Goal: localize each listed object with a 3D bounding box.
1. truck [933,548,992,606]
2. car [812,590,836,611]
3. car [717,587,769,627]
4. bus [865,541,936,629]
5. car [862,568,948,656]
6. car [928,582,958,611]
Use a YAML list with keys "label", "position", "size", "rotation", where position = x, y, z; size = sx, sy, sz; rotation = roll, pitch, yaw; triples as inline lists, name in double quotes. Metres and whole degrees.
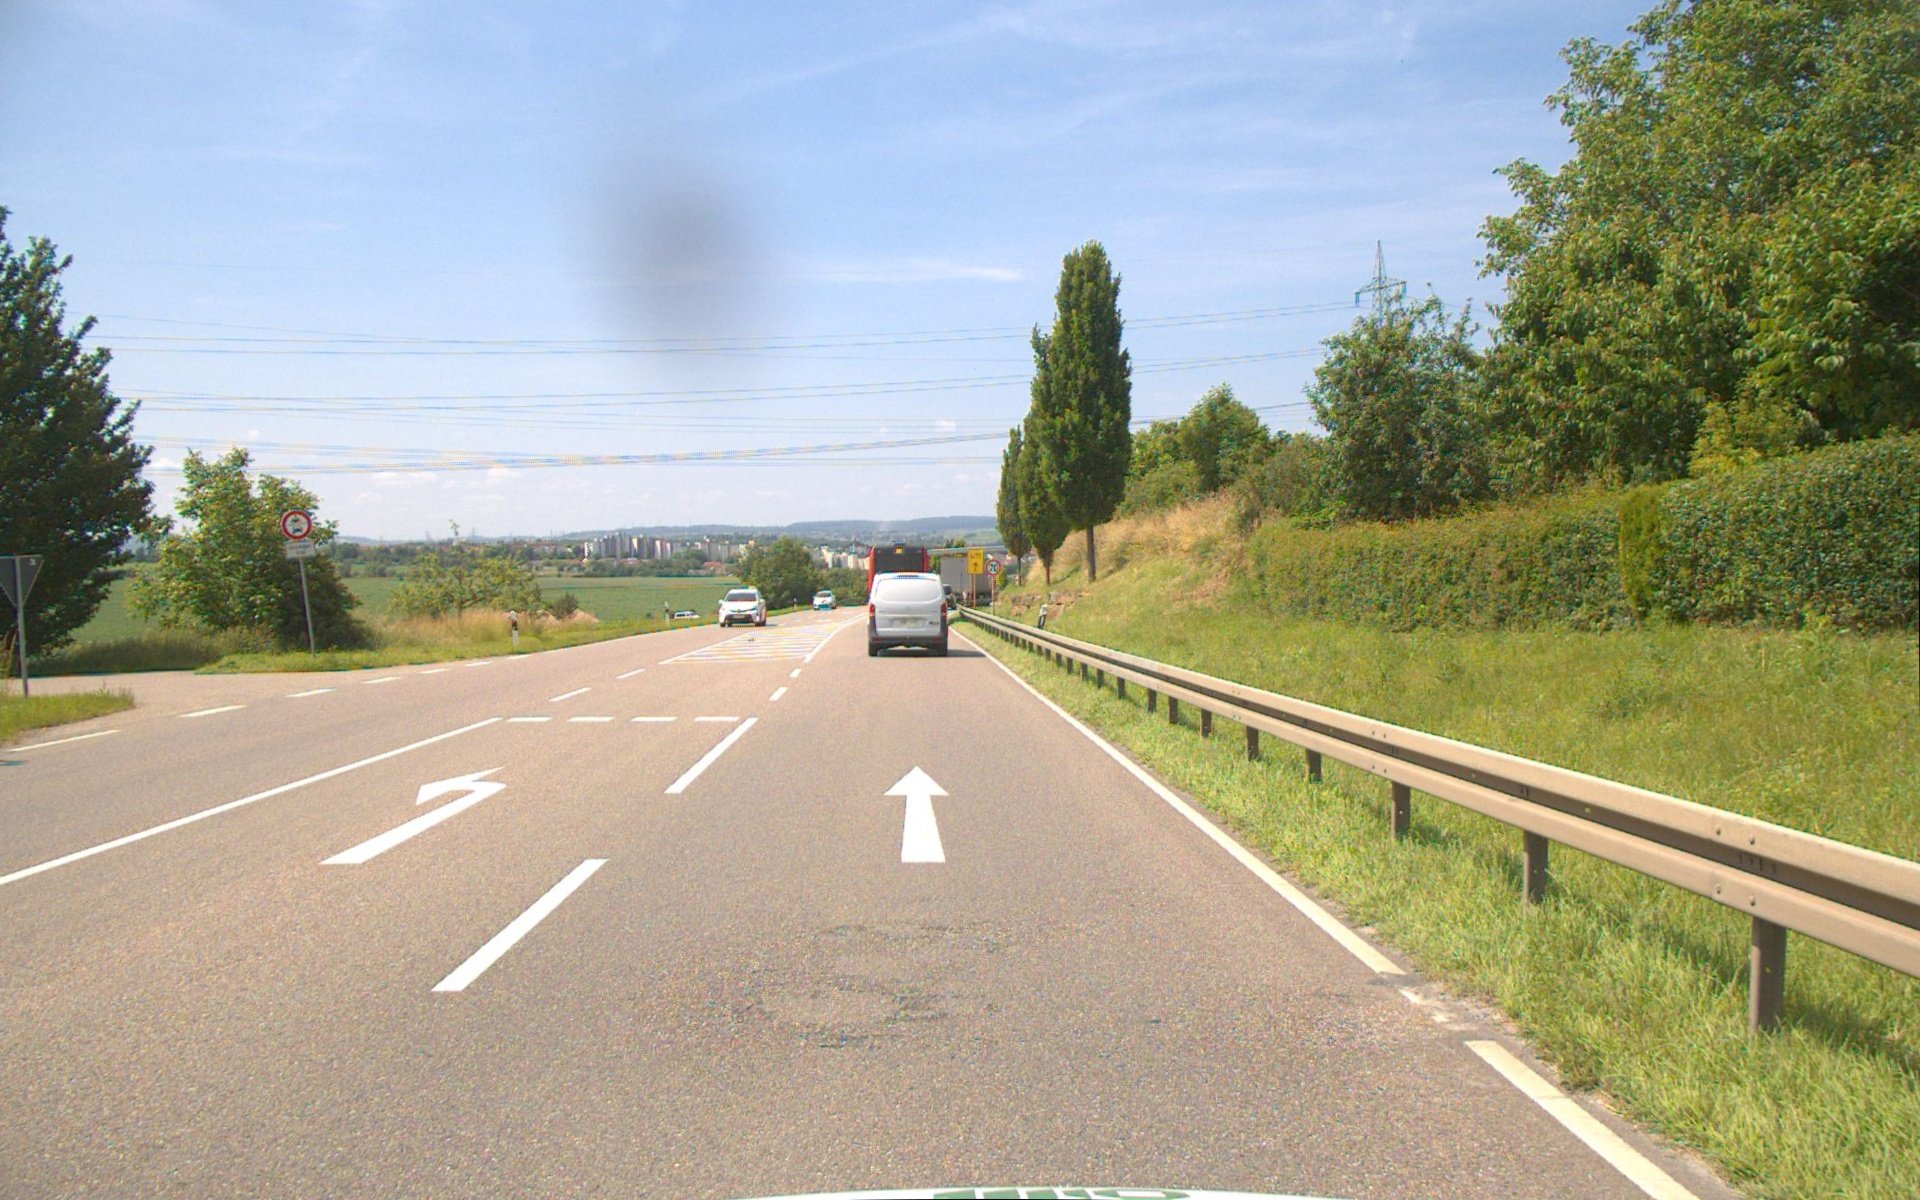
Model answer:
- label: "truck"
  position: [0.316, -1.849, 136.387]
  size: [3.414, 4.500, 14.913]
  rotation: [-1, 0, 6]
- label: "car"
  position: [-11.642, 0.017, 142.142]
  size: [1.730, 1.716, 3.825]
  rotation: [-2, 1, -1]
- label: "car"
  position: [-9.429, 0.277, 72.145]
  size: [1.816, 1.593, 4.073]
  rotation: [-2, 1, -2]
- label: "bus"
  position: [-2.624, -0.844, 73.548]
  size: [2.692, 3.411, 13.219]
  rotation: [-3, 2, -2]
- label: "car"
  position: [-1.250, 0.233, 39.260]
  size: [1.884, 1.922, 4.000]
  rotation: [-2, 1, 0]
- label: "car"
  position: [-1.166, -0.260, 115.636]
  size: [1.846, 1.848, 3.766]
  rotation: [-2, 1, 2]
